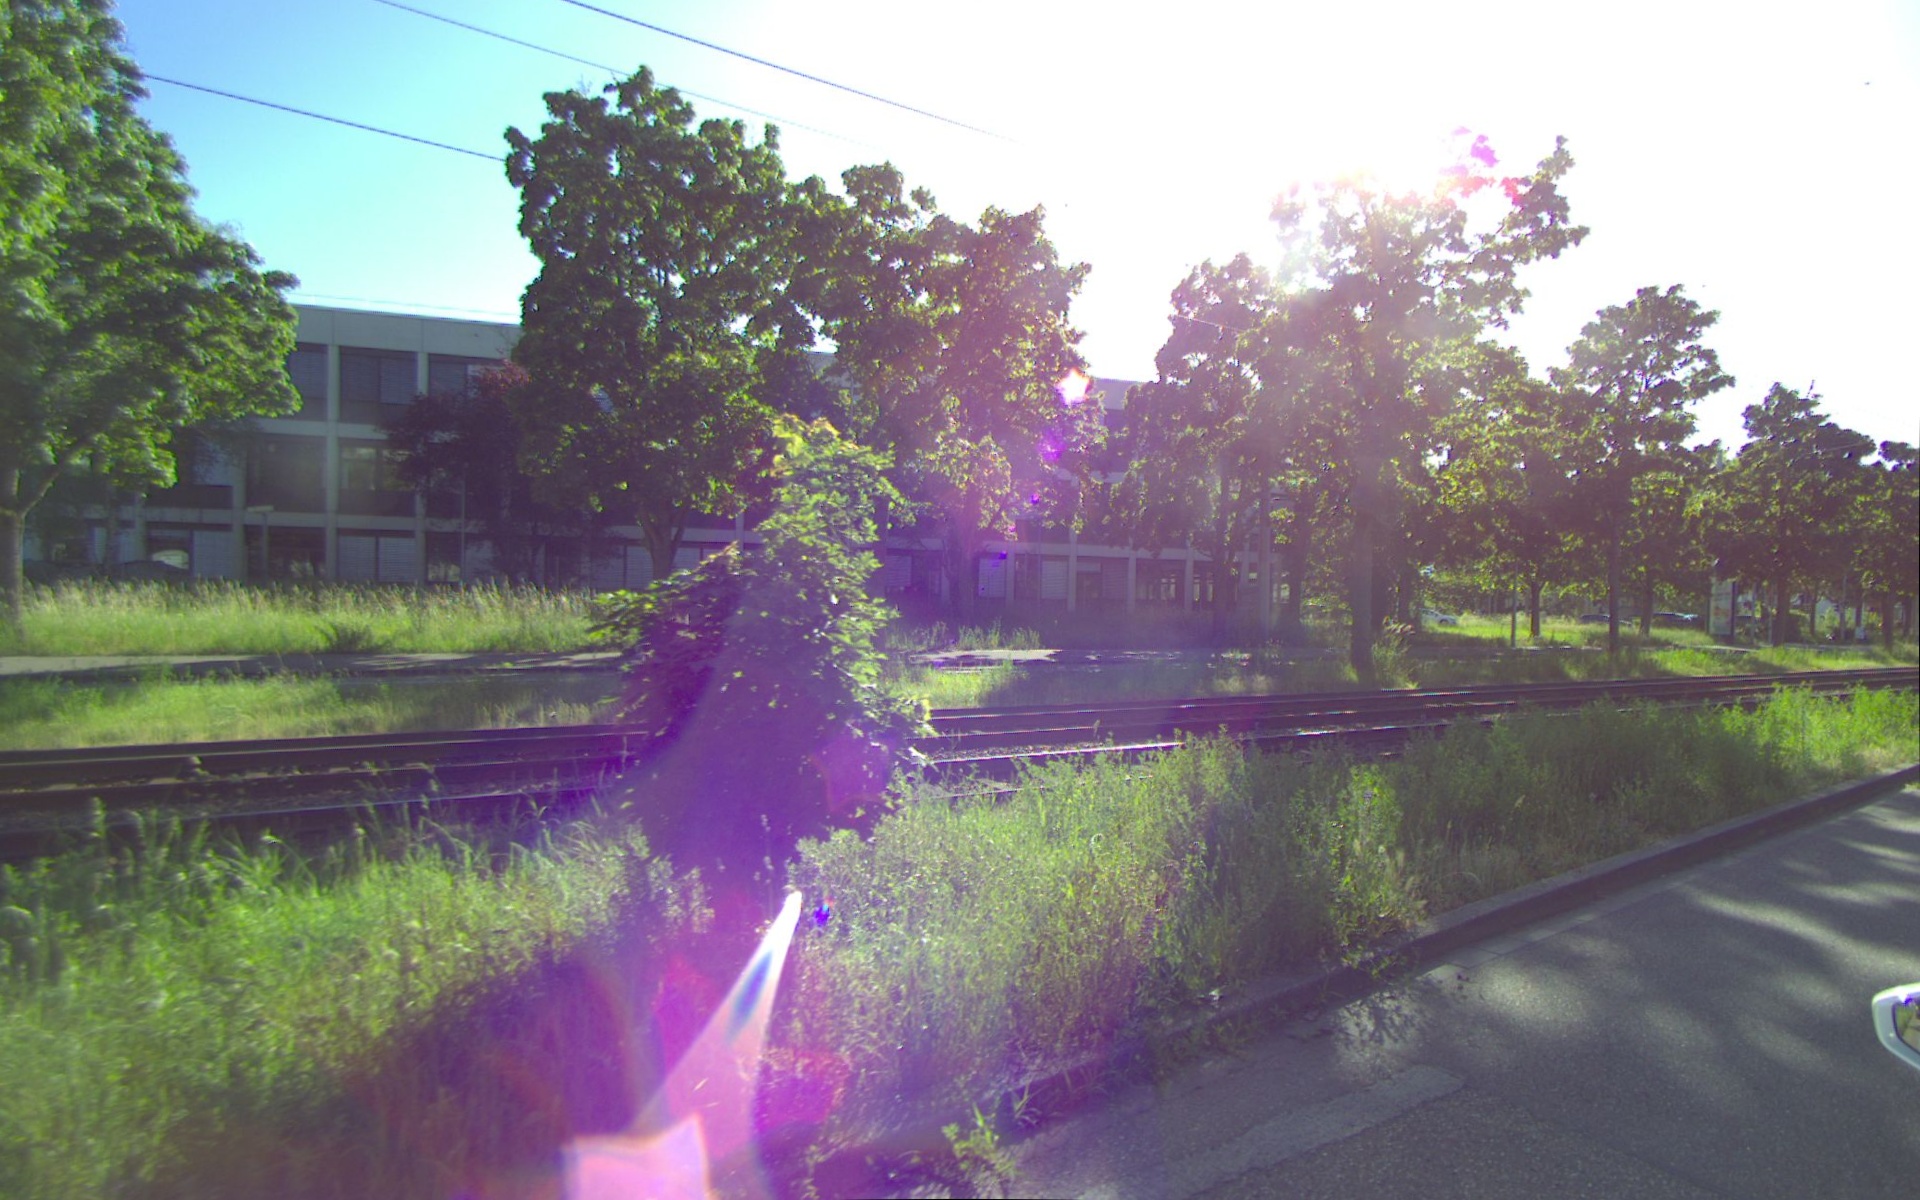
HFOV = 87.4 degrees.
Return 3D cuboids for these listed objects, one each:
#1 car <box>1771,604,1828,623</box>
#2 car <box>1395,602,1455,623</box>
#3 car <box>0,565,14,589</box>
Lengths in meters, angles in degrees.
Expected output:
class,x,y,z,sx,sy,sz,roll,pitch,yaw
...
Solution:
class,x,y,z,sx,sy,sz,roll,pitch,yaw
car,96.680,1.546,115.743,2.000,2.119,4.691,1,0,-34
car,39.360,1.059,85.108,4.356,1.662,1.984,1,0,34
car,-52.481,-1.267,52.814,1.815,1.284,4.539,1,1,-12
